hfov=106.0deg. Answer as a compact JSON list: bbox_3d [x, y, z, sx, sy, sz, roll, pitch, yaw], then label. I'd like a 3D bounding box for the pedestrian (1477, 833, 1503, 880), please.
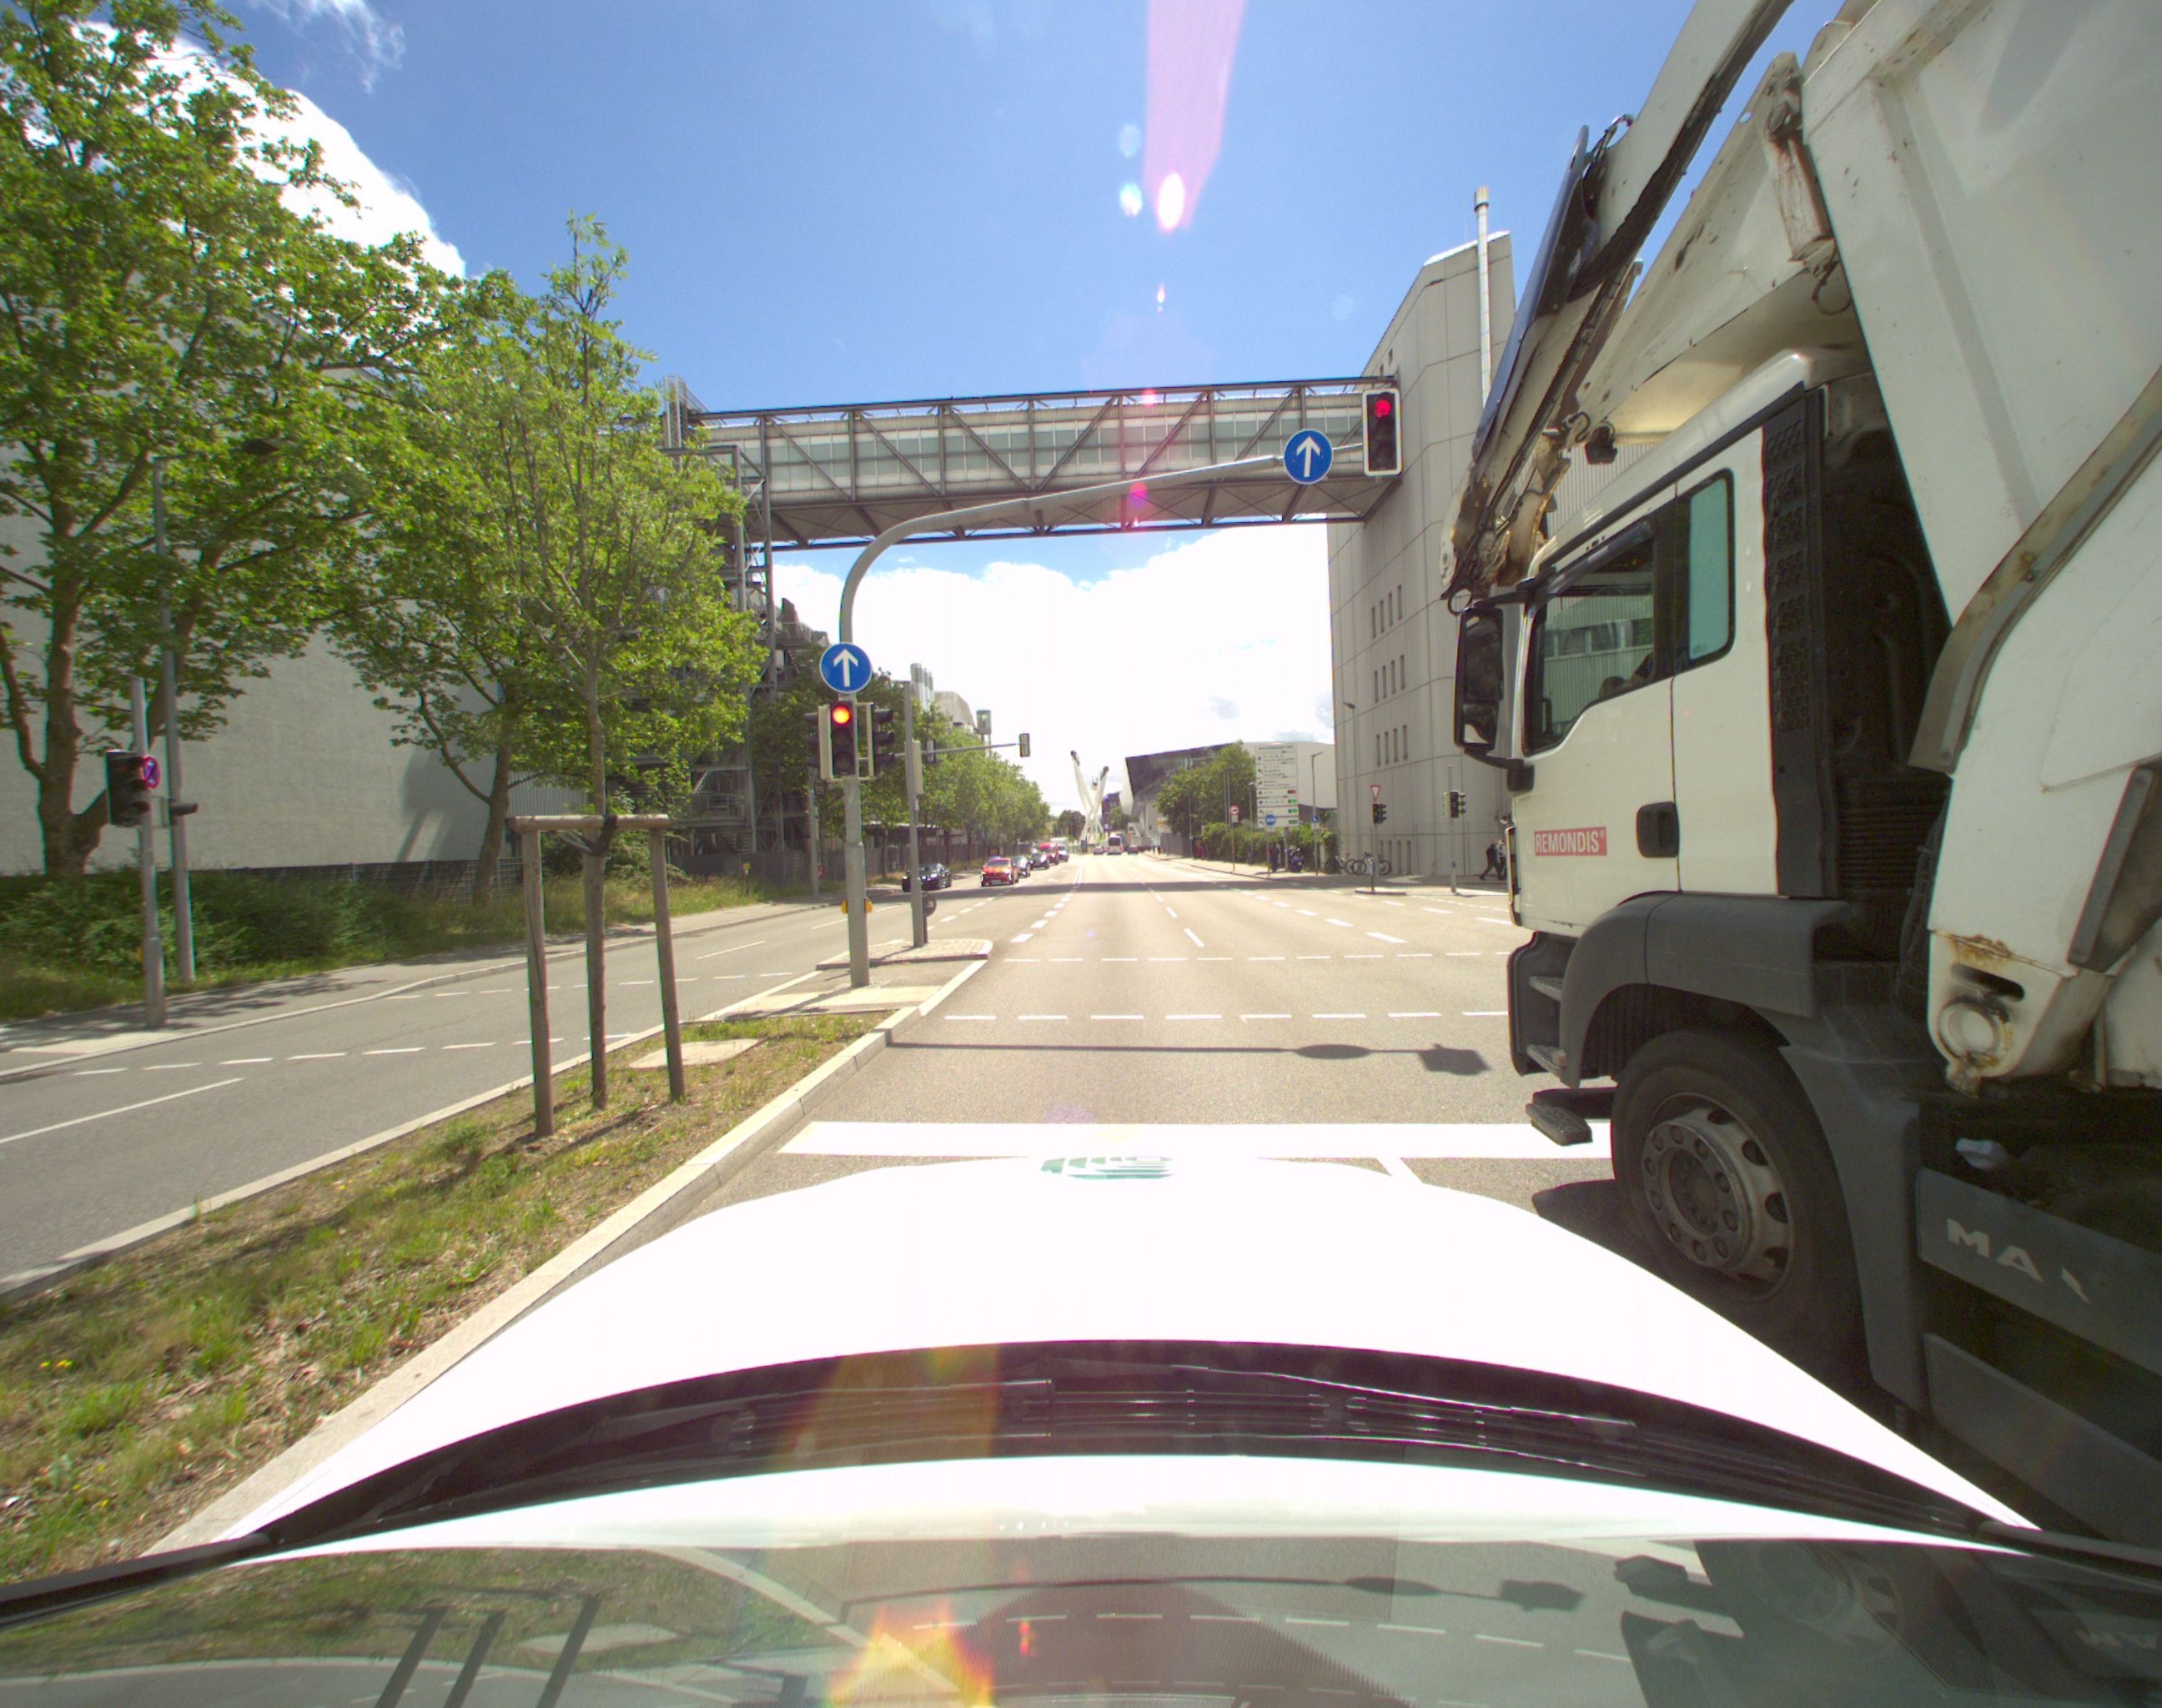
[{"bbox_3d":[16.172,0.103,32.195,0.704,1.793,0.646,-4,0,17],"label":"pedestrian"}]

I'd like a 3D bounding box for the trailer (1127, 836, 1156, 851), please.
[{"bbox_3d":[12.884,-2.115,172.077,3.291,2.995,10.429,-1,-1,21],"label":"trailer"}]

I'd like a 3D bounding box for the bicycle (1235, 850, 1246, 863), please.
[{"bbox_3d":[12.728,0.184,65.126,0.417,1.022,1.911,0,-1,-2],"label":"bicycle"}]

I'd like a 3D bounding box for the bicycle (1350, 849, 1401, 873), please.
[{"bbox_3d":[13.889,0.325,38.448,2.166,1.086,0.480,-1,-1,37],"label":"bicycle"}]

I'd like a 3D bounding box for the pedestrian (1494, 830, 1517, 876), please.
[{"bbox_3d":[17.113,-0.027,32.848,0.703,1.793,0.698,-4,0,24],"label":"pedestrian"}]

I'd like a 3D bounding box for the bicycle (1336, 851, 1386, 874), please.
[{"bbox_3d":[13.518,0.407,39.356,2.196,1.086,0.480,-1,-1,37],"label":"bicycle"}]

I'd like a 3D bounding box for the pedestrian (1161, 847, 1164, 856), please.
[{"bbox_3d":[13.216,-0.418,131.642,0.384,1.421,0.424,0,-1,2],"label":"pedestrian"}]

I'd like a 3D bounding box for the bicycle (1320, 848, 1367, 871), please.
[{"bbox_3d":[13.085,0.284,40.700,2.196,1.086,0.480,-1,-1,37],"label":"bicycle"}]

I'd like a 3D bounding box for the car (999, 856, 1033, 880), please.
[{"bbox_3d":[-4.382,0.914,55.343,1.762,1.420,3.704,-4,0,3],"label":"car"}]

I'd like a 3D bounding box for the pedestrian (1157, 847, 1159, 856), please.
[{"bbox_3d":[12.445,-0.420,131.613,0.384,1.421,0.424,0,-1,2],"label":"pedestrian"}]

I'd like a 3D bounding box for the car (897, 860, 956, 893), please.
[{"bbox_3d":[-8.125,1.128,43.279,1.910,1.488,4.775,-4,0,3],"label":"car"}]

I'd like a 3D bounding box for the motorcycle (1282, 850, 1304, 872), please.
[{"bbox_3d":[11.652,0.403,44.891,0.418,1.166,1.951,0,-1,-9],"label":"motorcycle"}]

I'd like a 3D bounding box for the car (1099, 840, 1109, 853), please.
[{"bbox_3d":[4.842,-1.595,171.114,1.836,2.624,4.002,0,-1,2],"label":"car"}]

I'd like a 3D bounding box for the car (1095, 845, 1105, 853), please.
[{"bbox_3d":[3.517,-0.908,148.802,1.551,1.273,3.704,-4,0,3],"label":"car"}]

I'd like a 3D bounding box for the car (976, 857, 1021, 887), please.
[{"bbox_3d":[-4.410,0.927,43.966,1.762,1.420,3.704,-4,0,3],"label":"car"}]

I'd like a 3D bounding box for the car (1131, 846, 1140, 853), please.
[{"bbox_3d":[9.822,-0.826,146.144,1.551,1.273,3.704,-4,0,3],"label":"car"}]

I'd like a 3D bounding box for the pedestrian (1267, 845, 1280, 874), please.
[{"bbox_3d":[10.938,0.322,46.200,0.532,1.640,0.657,0,-1,-4],"label":"pedestrian"}]

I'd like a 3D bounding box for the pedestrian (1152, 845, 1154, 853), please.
[{"bbox_3d":[11.924,-0.812,135.086,0.384,1.421,0.424,0,-1,2],"label":"pedestrian"}]

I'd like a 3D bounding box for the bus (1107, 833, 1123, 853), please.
[{"bbox_3d":[6.263,-1.983,150.203,2.776,3.686,6.947,0,-1,3],"label":"bus"}]

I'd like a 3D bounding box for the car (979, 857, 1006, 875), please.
[{"bbox_3d":[-7.727,1.005,71.502,1.720,1.382,3.704,-4,0,3],"label":"car"}]

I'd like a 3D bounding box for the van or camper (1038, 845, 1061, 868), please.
[{"bbox_3d":[-3.539,0.230,91.204,2.038,2.466,5.598,-1,0,3],"label":"van or camper"}]

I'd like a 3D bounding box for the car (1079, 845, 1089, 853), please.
[{"bbox_3d":[0.599,-0.965,156.016,1.551,1.273,3.704,-4,0,3],"label":"car"}]

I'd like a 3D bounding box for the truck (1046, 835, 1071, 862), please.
[{"bbox_3d":[-2.851,-0.612,104.431,2.581,3.324,7.083,0,-1,3],"label":"truck"}]

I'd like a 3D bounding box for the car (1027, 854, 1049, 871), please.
[{"bbox_3d":[-3.951,0.776,75.450,1.551,1.448,3.775,-4,0,3],"label":"car"}]
